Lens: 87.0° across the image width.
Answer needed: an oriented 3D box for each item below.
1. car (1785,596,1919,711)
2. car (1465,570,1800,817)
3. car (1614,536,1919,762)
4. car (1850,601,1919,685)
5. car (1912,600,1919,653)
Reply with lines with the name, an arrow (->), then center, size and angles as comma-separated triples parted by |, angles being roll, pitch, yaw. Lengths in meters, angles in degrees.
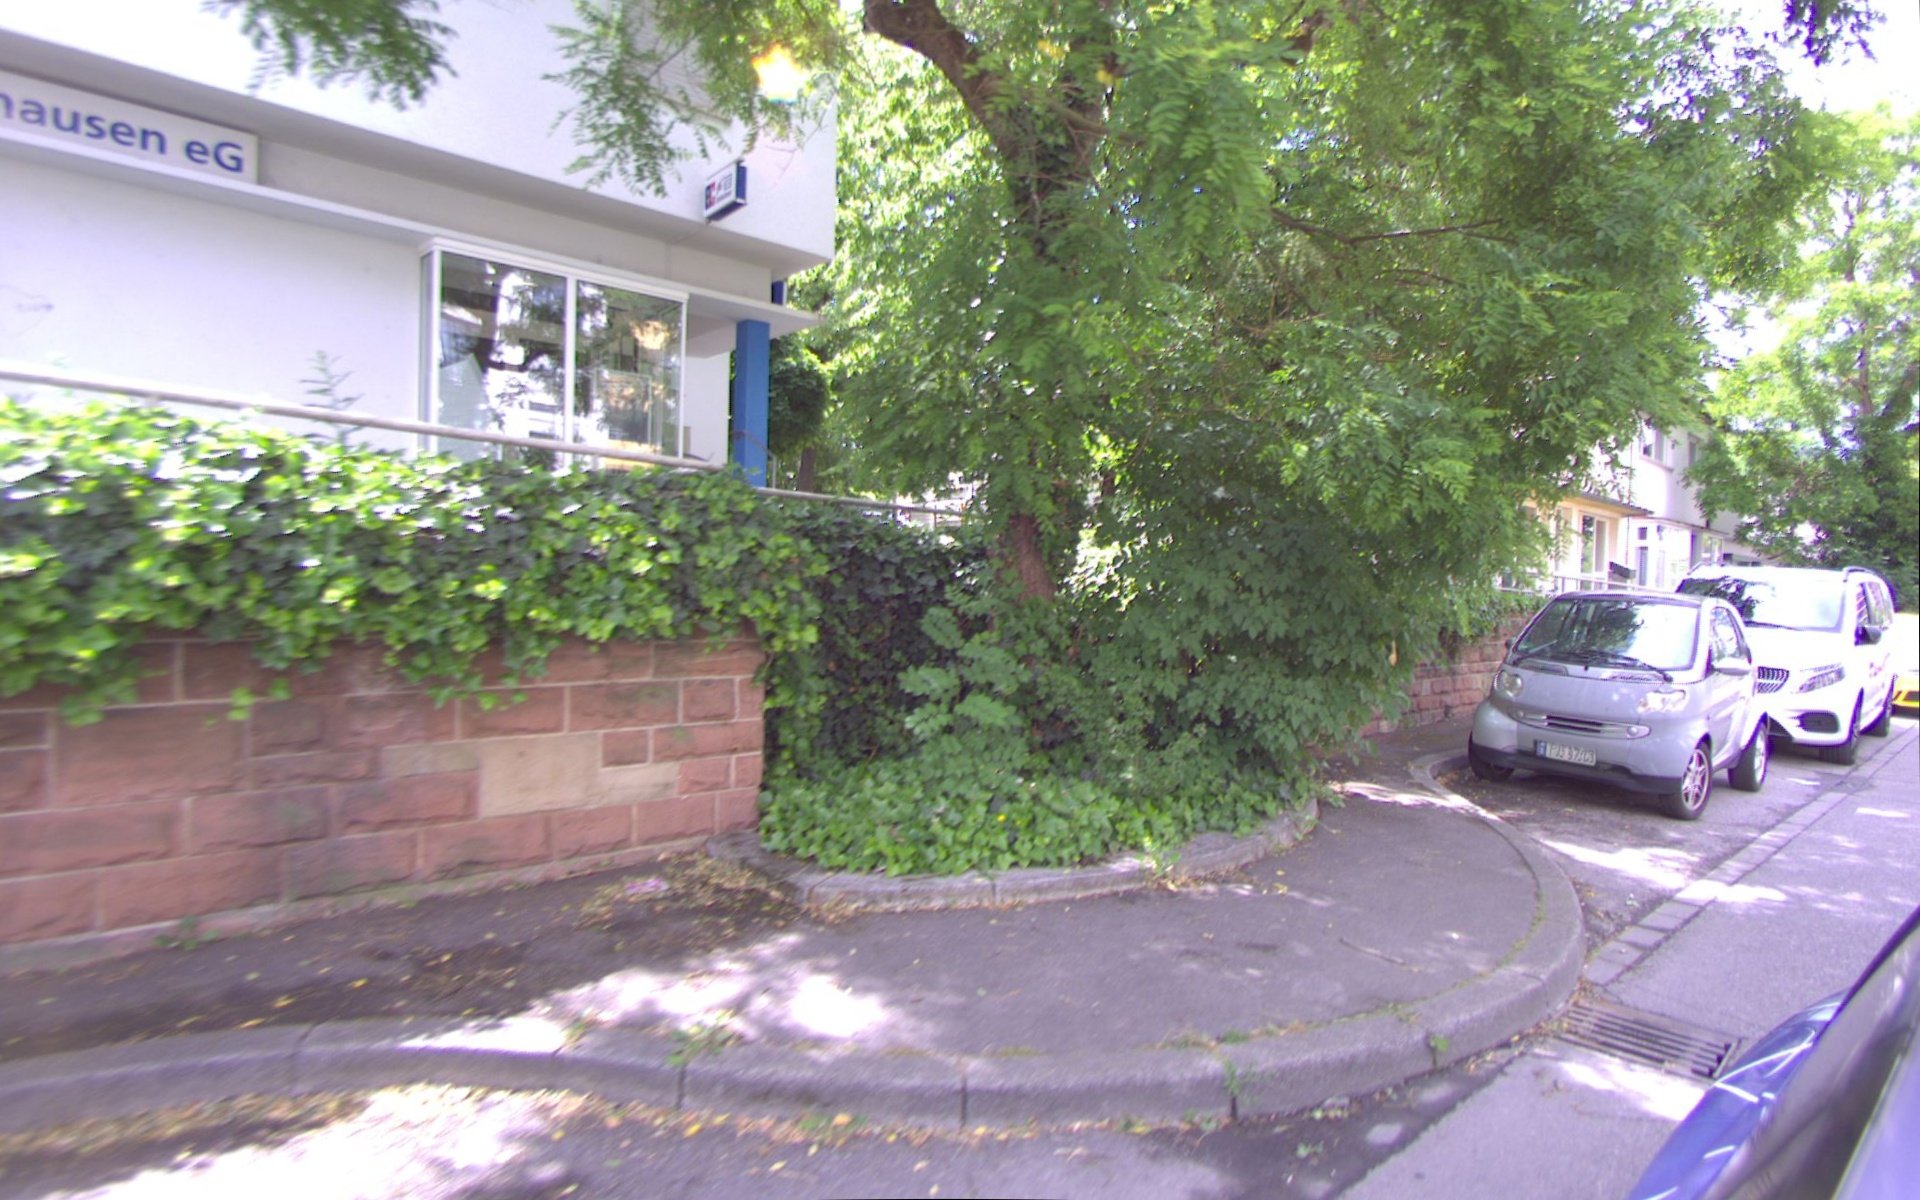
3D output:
car -> 14.087, 0.734, 15.340 | 4.266, 1.460, 1.758 | 1, 3, -42
car -> 5.429, 0.601, 8.082 | 2.798, 1.552, 1.516 | 1, 3, -42
car -> 9.427, 0.404, 11.529 | 5.647, 1.983, 1.917 | 1, 2, -43
car -> 18.877, 0.814, 19.826 | 4.419, 1.460, 1.757 | 1, 2, -44
car -> 29.553, 0.817, 29.890 | 4.172, 1.524, 1.836 | 1, 2, -44
